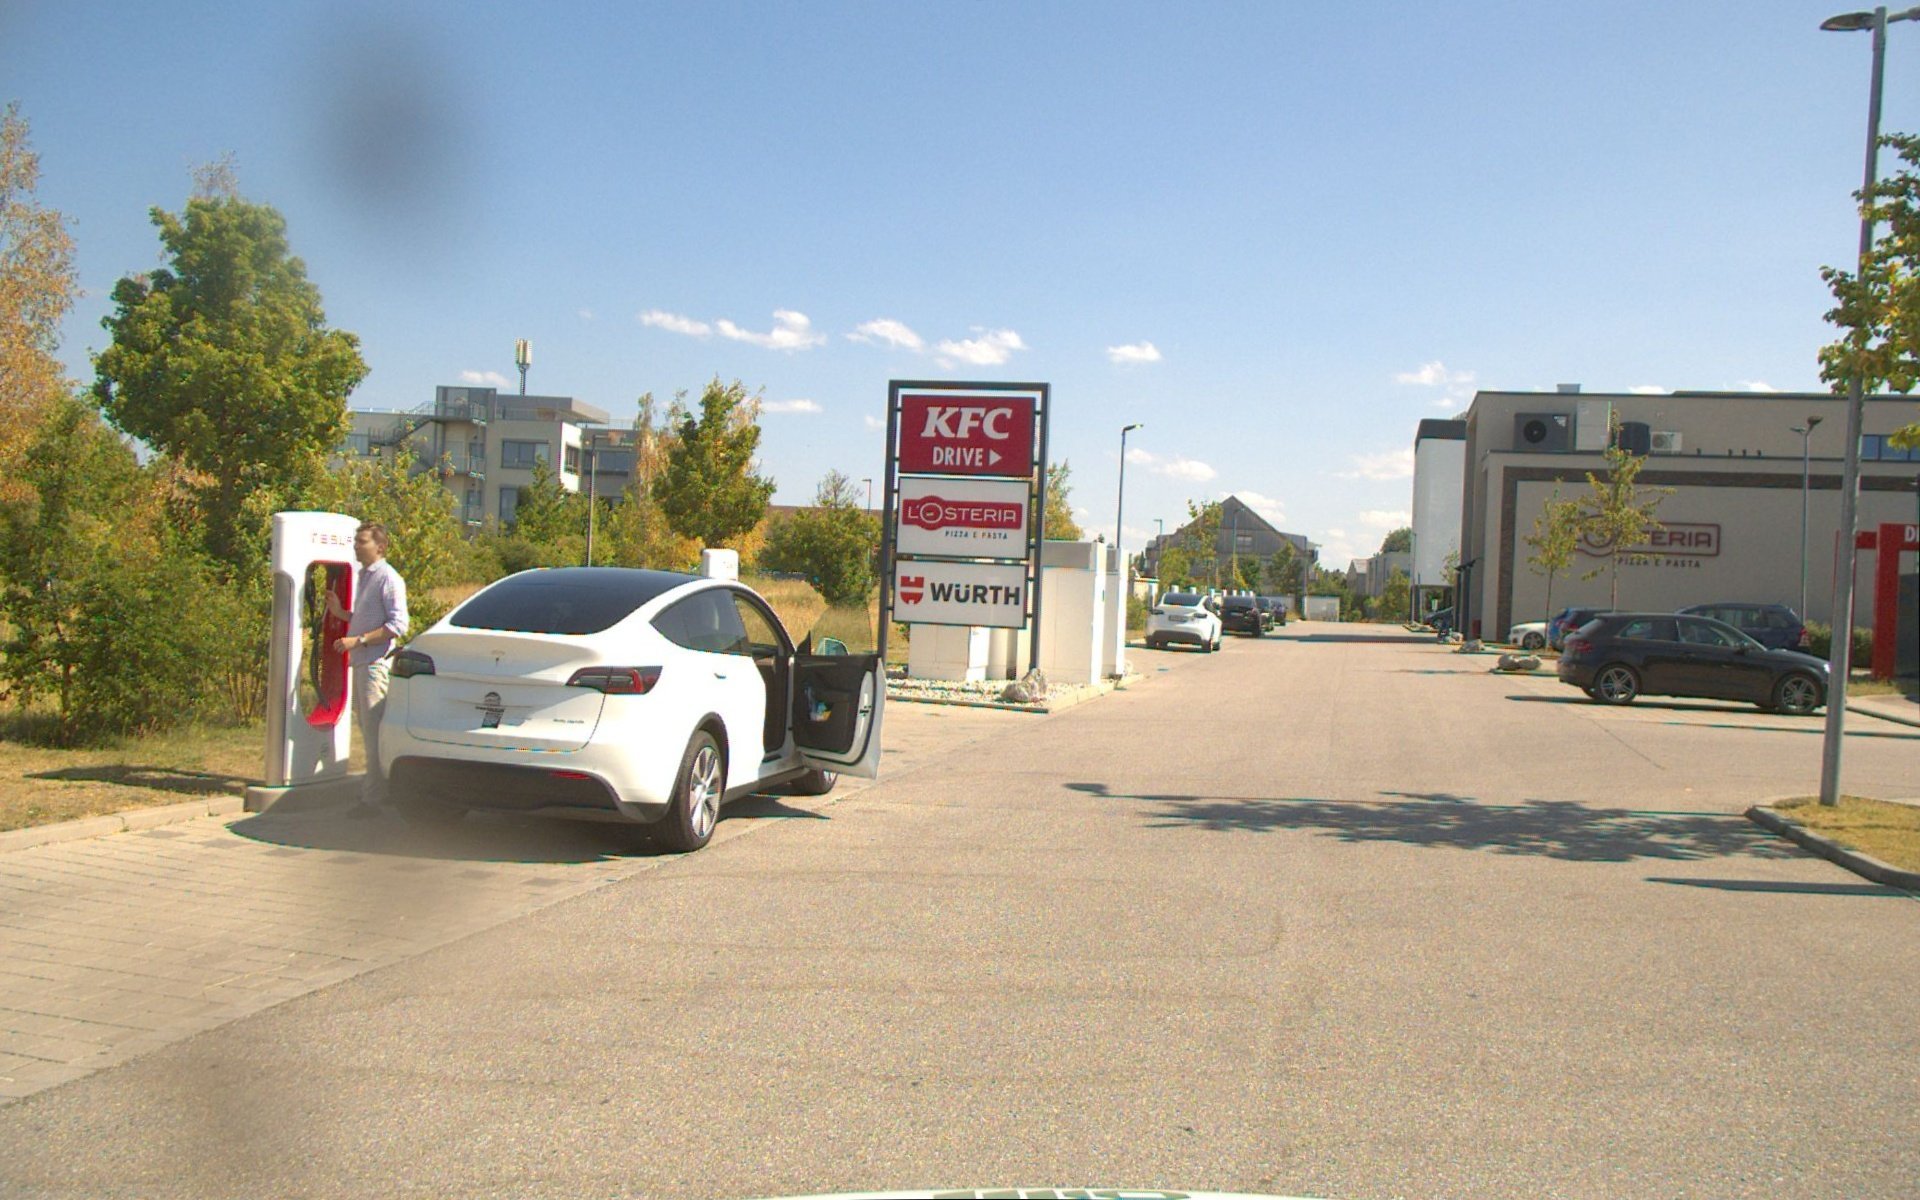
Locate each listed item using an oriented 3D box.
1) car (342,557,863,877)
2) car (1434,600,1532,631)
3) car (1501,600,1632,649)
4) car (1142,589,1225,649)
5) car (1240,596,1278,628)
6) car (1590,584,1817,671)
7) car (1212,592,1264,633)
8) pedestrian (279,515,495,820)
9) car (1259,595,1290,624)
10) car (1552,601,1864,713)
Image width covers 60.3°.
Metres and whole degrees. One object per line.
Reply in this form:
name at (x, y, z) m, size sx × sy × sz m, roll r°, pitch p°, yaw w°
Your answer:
car at (-2.091, 0.611, 11.168) m, size 1.824 × 1.628 × 4.493 m, roll 3°, pitch 1°, yaw 10°
car at (23.006, 0.665, 72.838) m, size 3.902 × 1.176 × 2.002 m, roll 2°, pitch 1°, yaw 12°
car at (20.590, 0.816, 56.284) m, size 3.902 × 1.445 × 1.652 m, roll 3°, pitch 1°, yaw 10°
car at (6.618, 0.533, 48.679) m, size 1.904 × 1.595 × 4.003 m, roll 3°, pitch 1°, yaw 15°
car at (14.685, 0.568, 81.104) m, size 1.705 × 1.411 × 4.003 m, roll 3°, pitch 1°, yaw 12°
car at (16.529, 0.586, 36.944) m, size 4.277 × 1.714 × 1.643 m, roll 3°, pitch 0°, yaw 9°
car at (11.705, 0.519, 69.493) m, size 1.903 × 1.595 × 4.003 m, roll 3°, pitch 1°, yaw 13°
pedestrian at (-3.659, 0.409, 10.605) m, size 1.010 × 1.831 × 0.737 m, roll 2°, pitch 0°, yaw 12°
car at (18.584, 0.554, 97.576) m, size 1.705 × 1.595 × 4.003 m, roll 2°, pitch 1°, yaw 12°
car at (11.511, 0.840, 25.720) m, size 4.111 × 1.466 × 1.700 m, roll 3°, pitch 1°, yaw 13°
